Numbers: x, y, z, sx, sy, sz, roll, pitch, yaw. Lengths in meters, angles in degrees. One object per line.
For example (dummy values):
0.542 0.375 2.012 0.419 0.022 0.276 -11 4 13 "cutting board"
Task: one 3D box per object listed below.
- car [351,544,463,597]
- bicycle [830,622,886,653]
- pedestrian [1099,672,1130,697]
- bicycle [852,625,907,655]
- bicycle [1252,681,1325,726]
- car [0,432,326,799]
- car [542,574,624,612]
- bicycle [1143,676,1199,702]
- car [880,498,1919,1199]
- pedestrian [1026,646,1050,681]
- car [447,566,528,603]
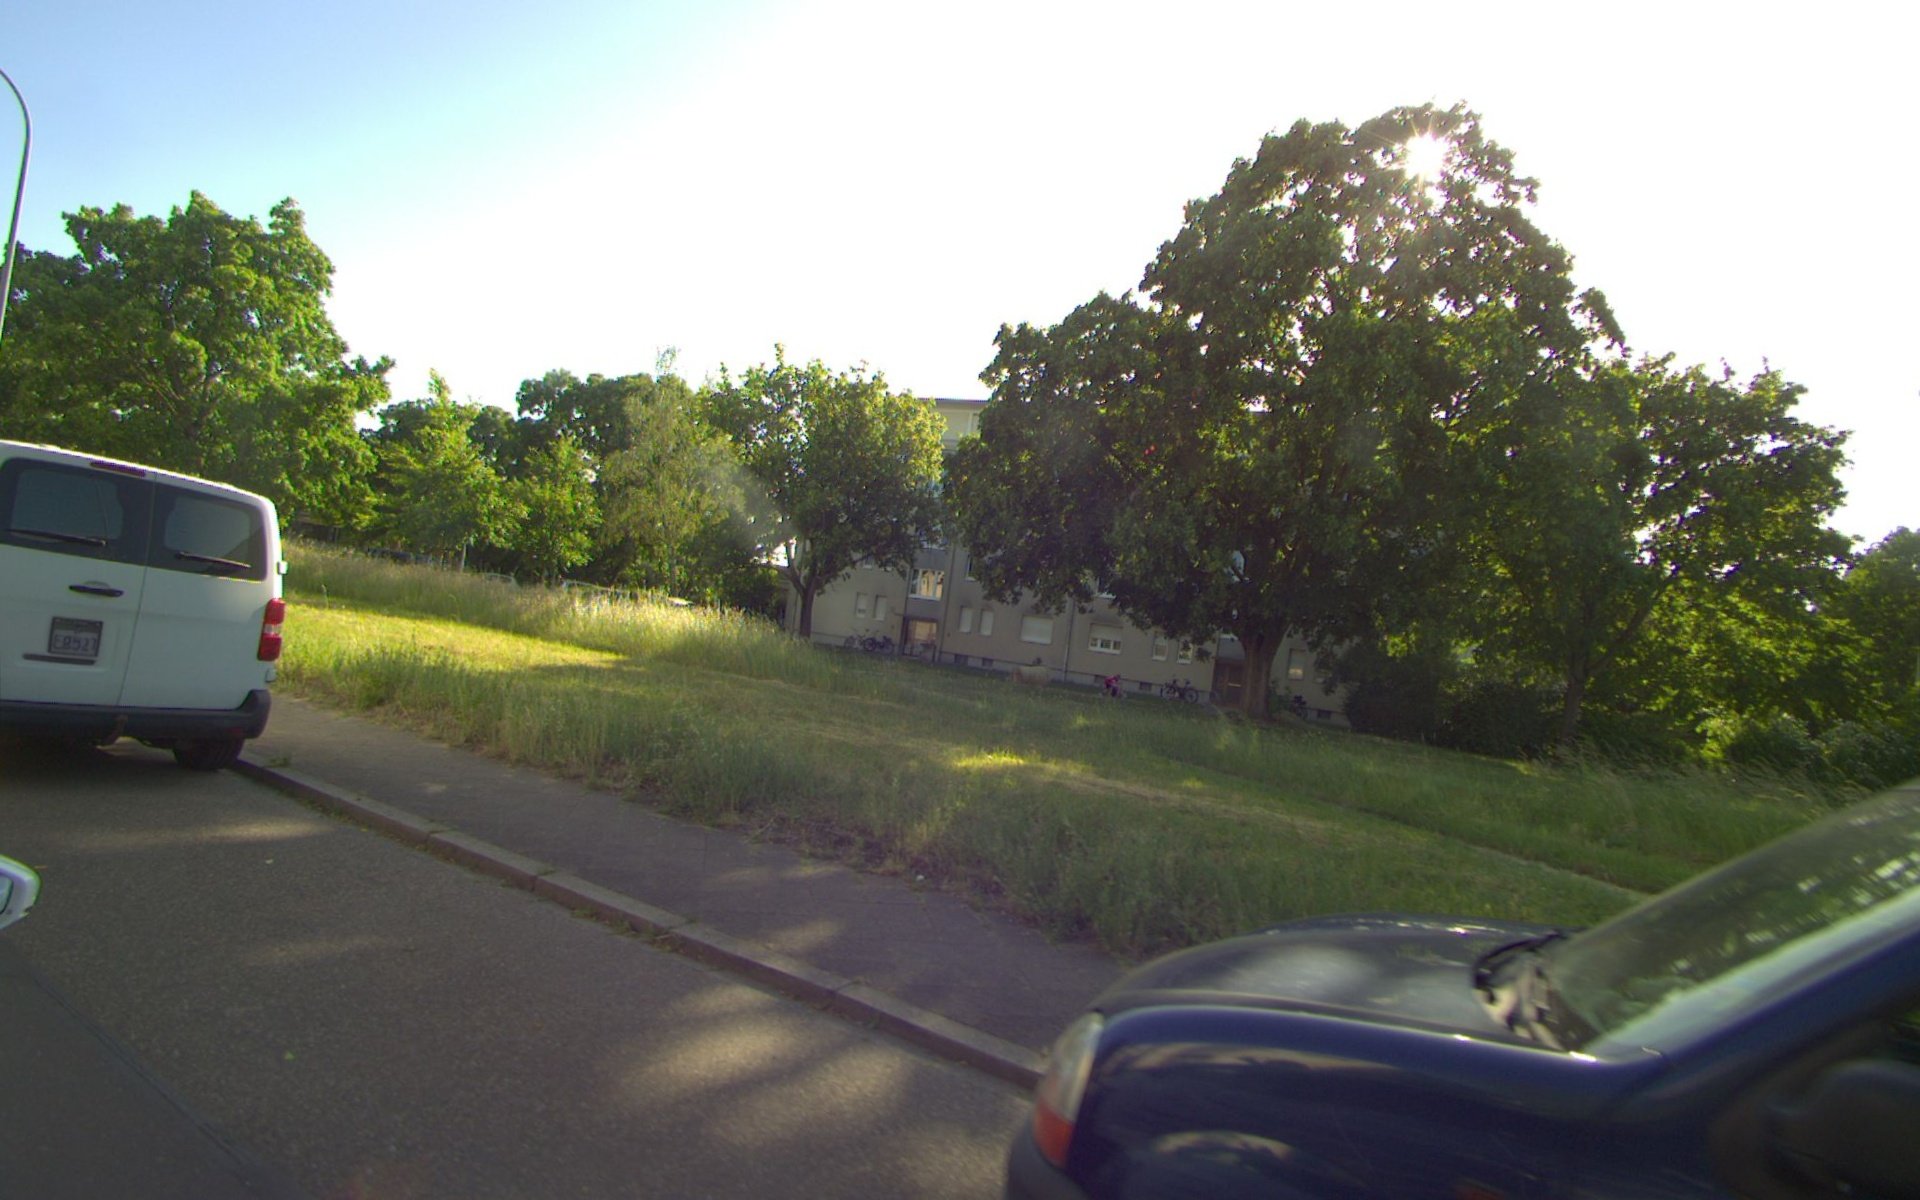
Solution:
-28.905 -1.527 52.633 2.243 2.035 4.499 7 -2 43 "car"
-5.313 1.962 52.612 2.645 1.219 0.942 8 -1 8 "bicycle"
6.319 3.447 41.121 0.986 0.858 0.745 7 -1 24 "pedestrian"
-4.278 2.125 53.334 2.645 1.219 0.942 8 -1 8 "bicycle"
13.989 4.394 42.854 2.706 1.543 0.782 7 -1 26 "bicycle"
-6.741 -0.081 6.900 4.784 1.892 1.921 7 -3 31 "car"
-24.582 -0.431 65.676 1.973 1.828 4.449 7 -2 43 "car"
9.482 3.985 45.285 2.266 0.821 0.694 7 -1 32 "bicycle"
2.030 0.985 1.480 4.017 1.749 1.702 7 -3 33 "car"
3.531 2.892 45.638 0.753 1.474 0.757 7 -1 20 "pedestrian"
-28.908 -0.949 61.649 1.969 1.629 3.869 7 -3 37 "car"
